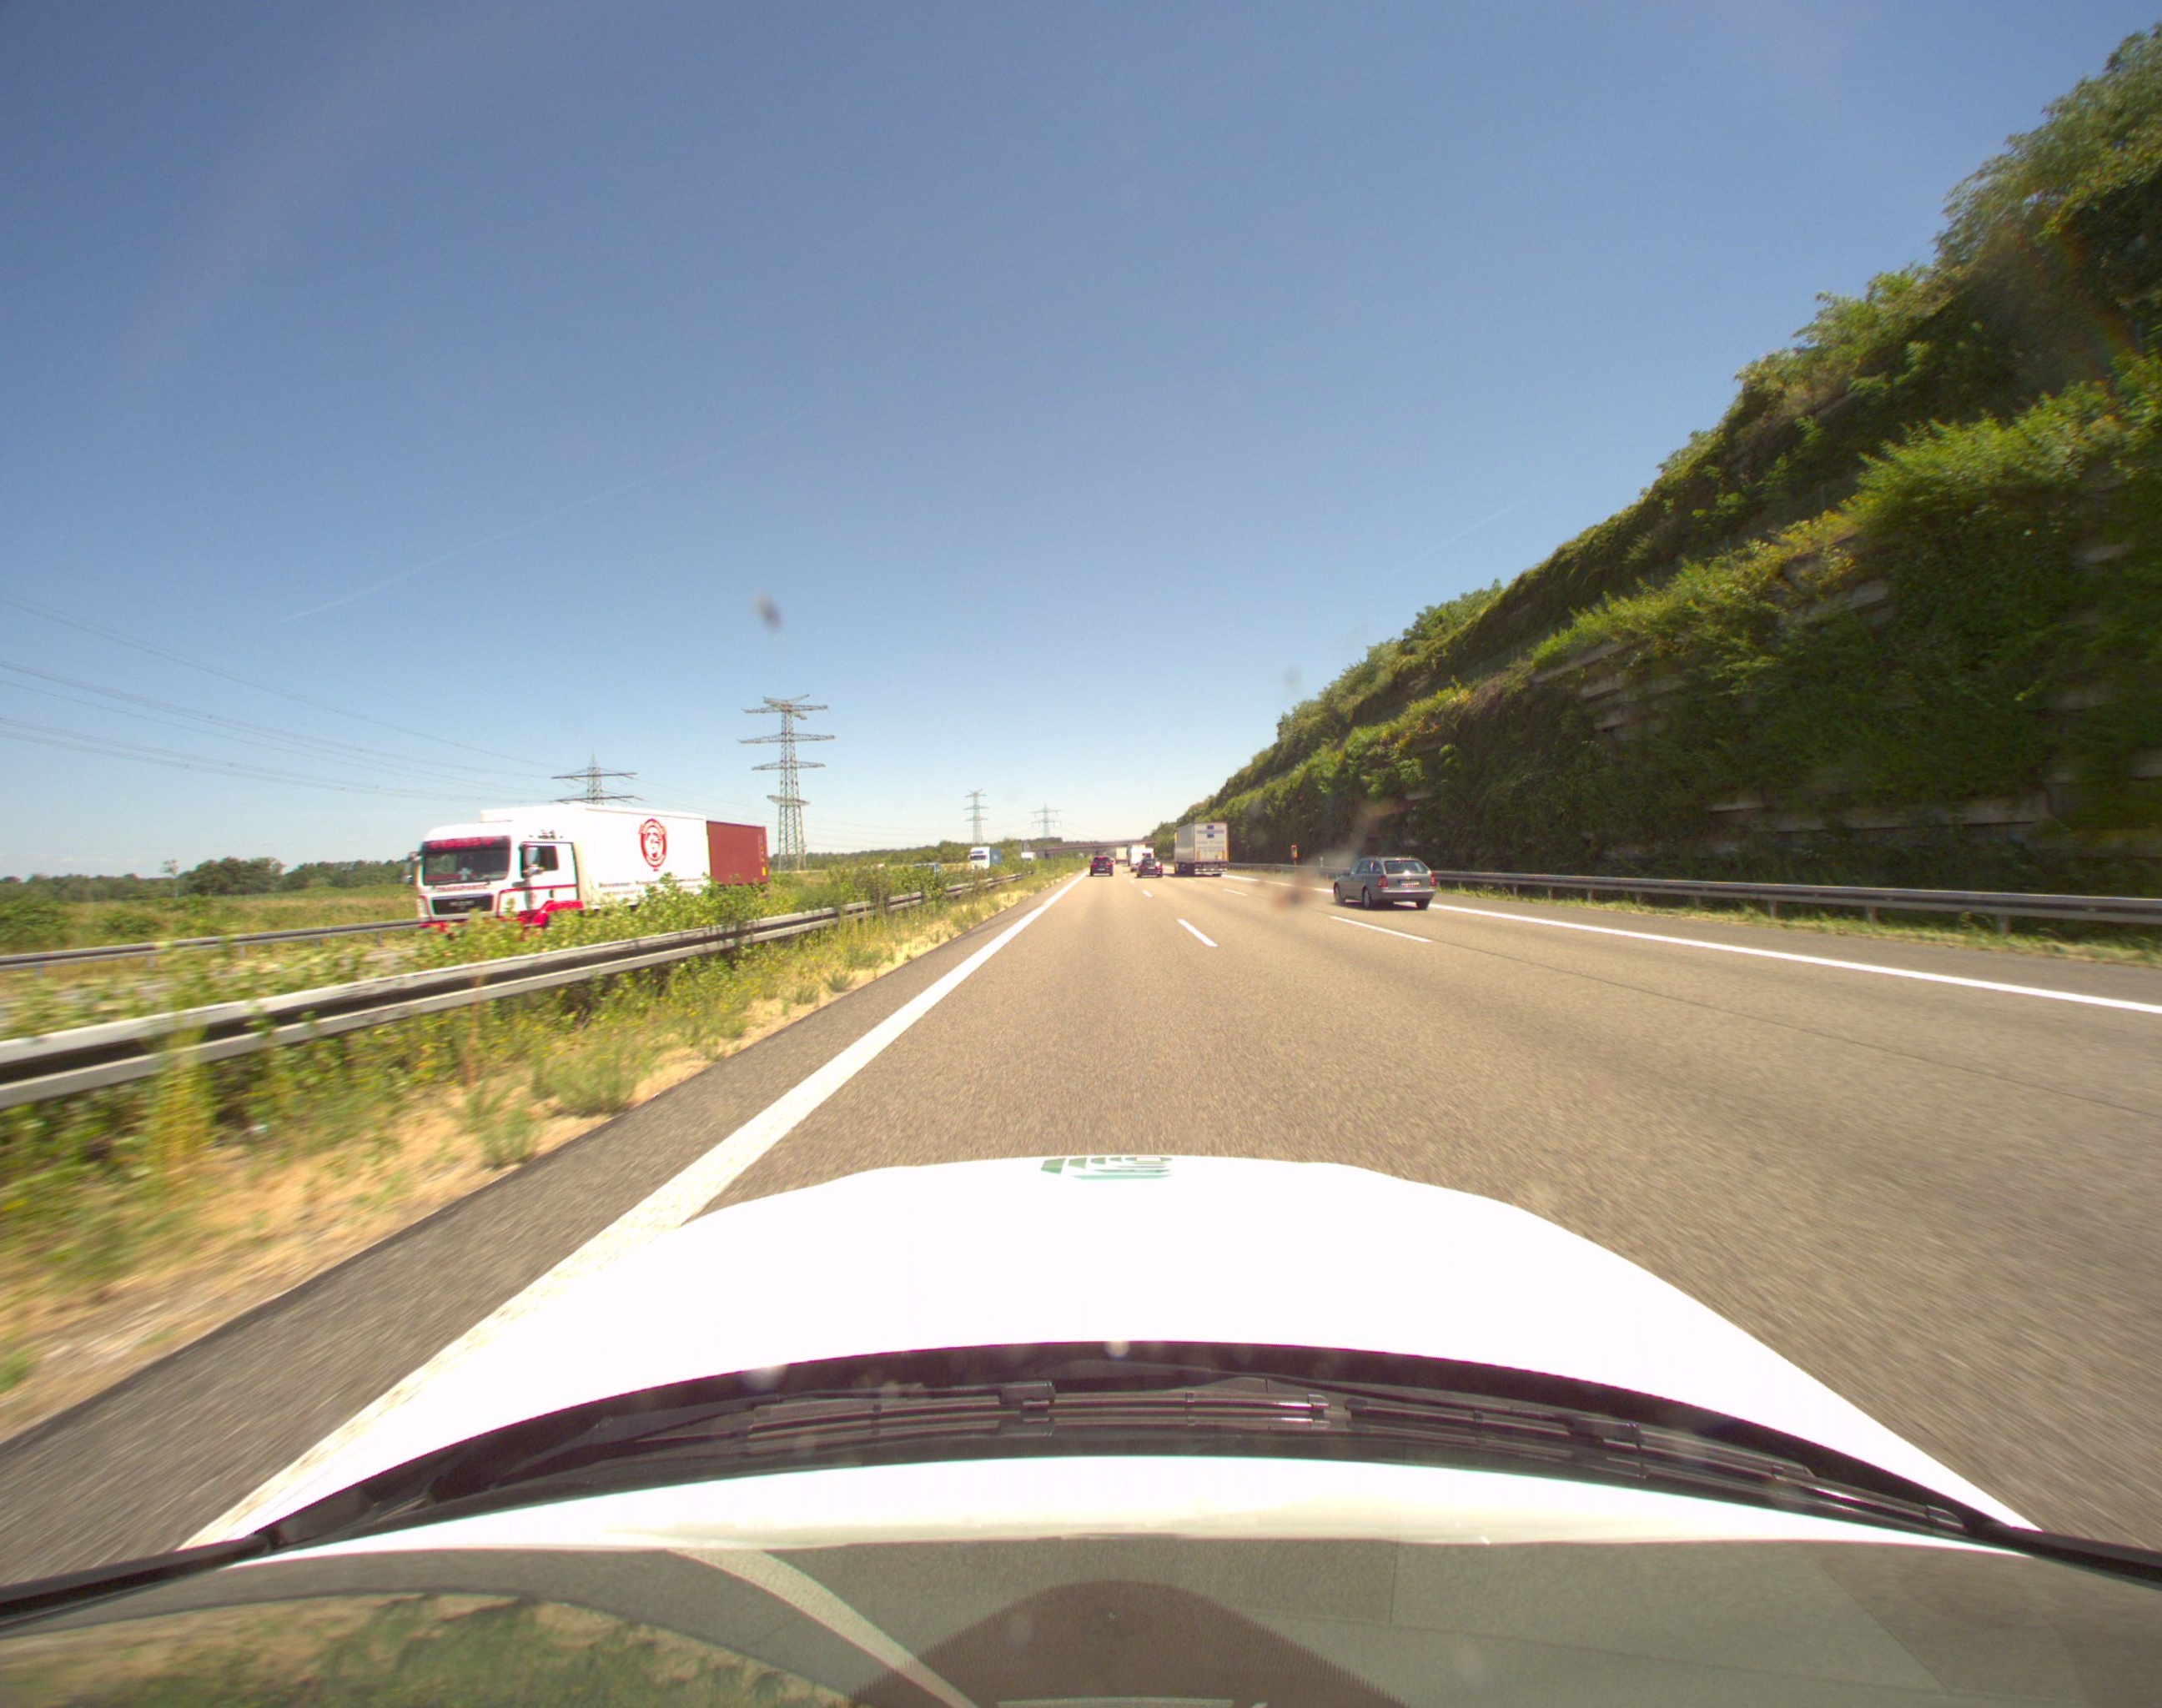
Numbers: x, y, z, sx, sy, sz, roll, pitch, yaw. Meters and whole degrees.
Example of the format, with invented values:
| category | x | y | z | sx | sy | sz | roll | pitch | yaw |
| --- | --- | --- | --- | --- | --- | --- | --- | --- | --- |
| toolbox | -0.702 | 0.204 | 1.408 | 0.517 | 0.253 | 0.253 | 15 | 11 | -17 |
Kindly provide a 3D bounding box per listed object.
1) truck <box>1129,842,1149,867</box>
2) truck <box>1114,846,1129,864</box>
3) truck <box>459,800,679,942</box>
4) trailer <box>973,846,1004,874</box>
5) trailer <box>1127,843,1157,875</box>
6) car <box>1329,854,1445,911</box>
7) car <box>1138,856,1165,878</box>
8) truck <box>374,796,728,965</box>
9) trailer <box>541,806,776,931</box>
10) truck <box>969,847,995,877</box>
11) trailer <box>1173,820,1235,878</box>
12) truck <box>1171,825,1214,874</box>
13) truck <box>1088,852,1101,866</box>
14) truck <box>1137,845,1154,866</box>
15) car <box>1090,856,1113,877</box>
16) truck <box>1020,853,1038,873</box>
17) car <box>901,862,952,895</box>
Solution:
| category | x | y | z | sx | sy | sz | roll | pitch | yaw |
| --- | --- | --- | --- | --- | --- | --- | --- | --- | --- |
| truck | 10.712 | 0.111 | 151.248 | 3.107 | 4.280 | 11.937 | -2 | 0 | 2 |
| truck | 9.880 | 0.250 | 200.873 | 3.397 | 4.280 | 10.610 | -2 | 0 | 2 |
| truck | -17.091 | 0.527 | 27.890 | 3.201 | 4.158 | 6.441 | -3 | 0 | 1 |
| trailer | -14.118 | 0.918 | 125.488 | 2.683 | 3.937 | 13.913 | -2 | 0 | 2 |
| trailer | 6.591 | 0.542 | 89.556 | 2.602 | 3.213 | 9.953 | -2 | 0 | 1 |
| car | 8.625 | 0.746 | 23.371 | 1.679 | 1.428 | 4.453 | -1 | 0 | 1 |
| car | 5.351 | 0.953 | 62.391 | 1.823 | 1.525 | 4.002 | -2 | 0 | 2 |
| truck | -13.326 | 0.586 | 22.017 | 2.925 | 3.413 | 9.372 | -4 | 0 | 2 |
| trailer | -16.947 | 0.548 | 34.360 | 3.181 | 4.306 | 12.275 | -1 | 0 | 2 |
| truck | -14.272 | 1.112 | 117.789 | 2.686 | 4.068 | 5.803 | -2 | 0 | 1 |
| trailer | 9.740 | -0.351 | 66.125 | 3.171 | 4.121 | 13.434 | -3 | 0 | 1 |
| truck | 9.914 | -0.386 | 72.838 | 3.124 | 4.142 | 5.505 | -2 | 0 | 1 |
| truck | 4.111 | 1.476 | 249.752 | 3.948 | 4.114 | 9.953 | -2 | 0 | 1 |
| truck | 14.283 | 0.338 | 180.771 | 3.107 | 4.280 | 10.170 | -2 | 0 | 2 |
| car | 1.769 | 1.051 | 70.424 | 1.823 | 1.670 | 4.000 | -2 | 0 | 1 |
| truck | -11.762 | 1.953 | 183.907 | 2.863 | 4.176 | 10.572 | -2 | 0 | 2 |
| car | -8.544 | 1.337 | 45.443 | 1.829 | 1.668 | 4.587 | -2 | 0 | 1 |
